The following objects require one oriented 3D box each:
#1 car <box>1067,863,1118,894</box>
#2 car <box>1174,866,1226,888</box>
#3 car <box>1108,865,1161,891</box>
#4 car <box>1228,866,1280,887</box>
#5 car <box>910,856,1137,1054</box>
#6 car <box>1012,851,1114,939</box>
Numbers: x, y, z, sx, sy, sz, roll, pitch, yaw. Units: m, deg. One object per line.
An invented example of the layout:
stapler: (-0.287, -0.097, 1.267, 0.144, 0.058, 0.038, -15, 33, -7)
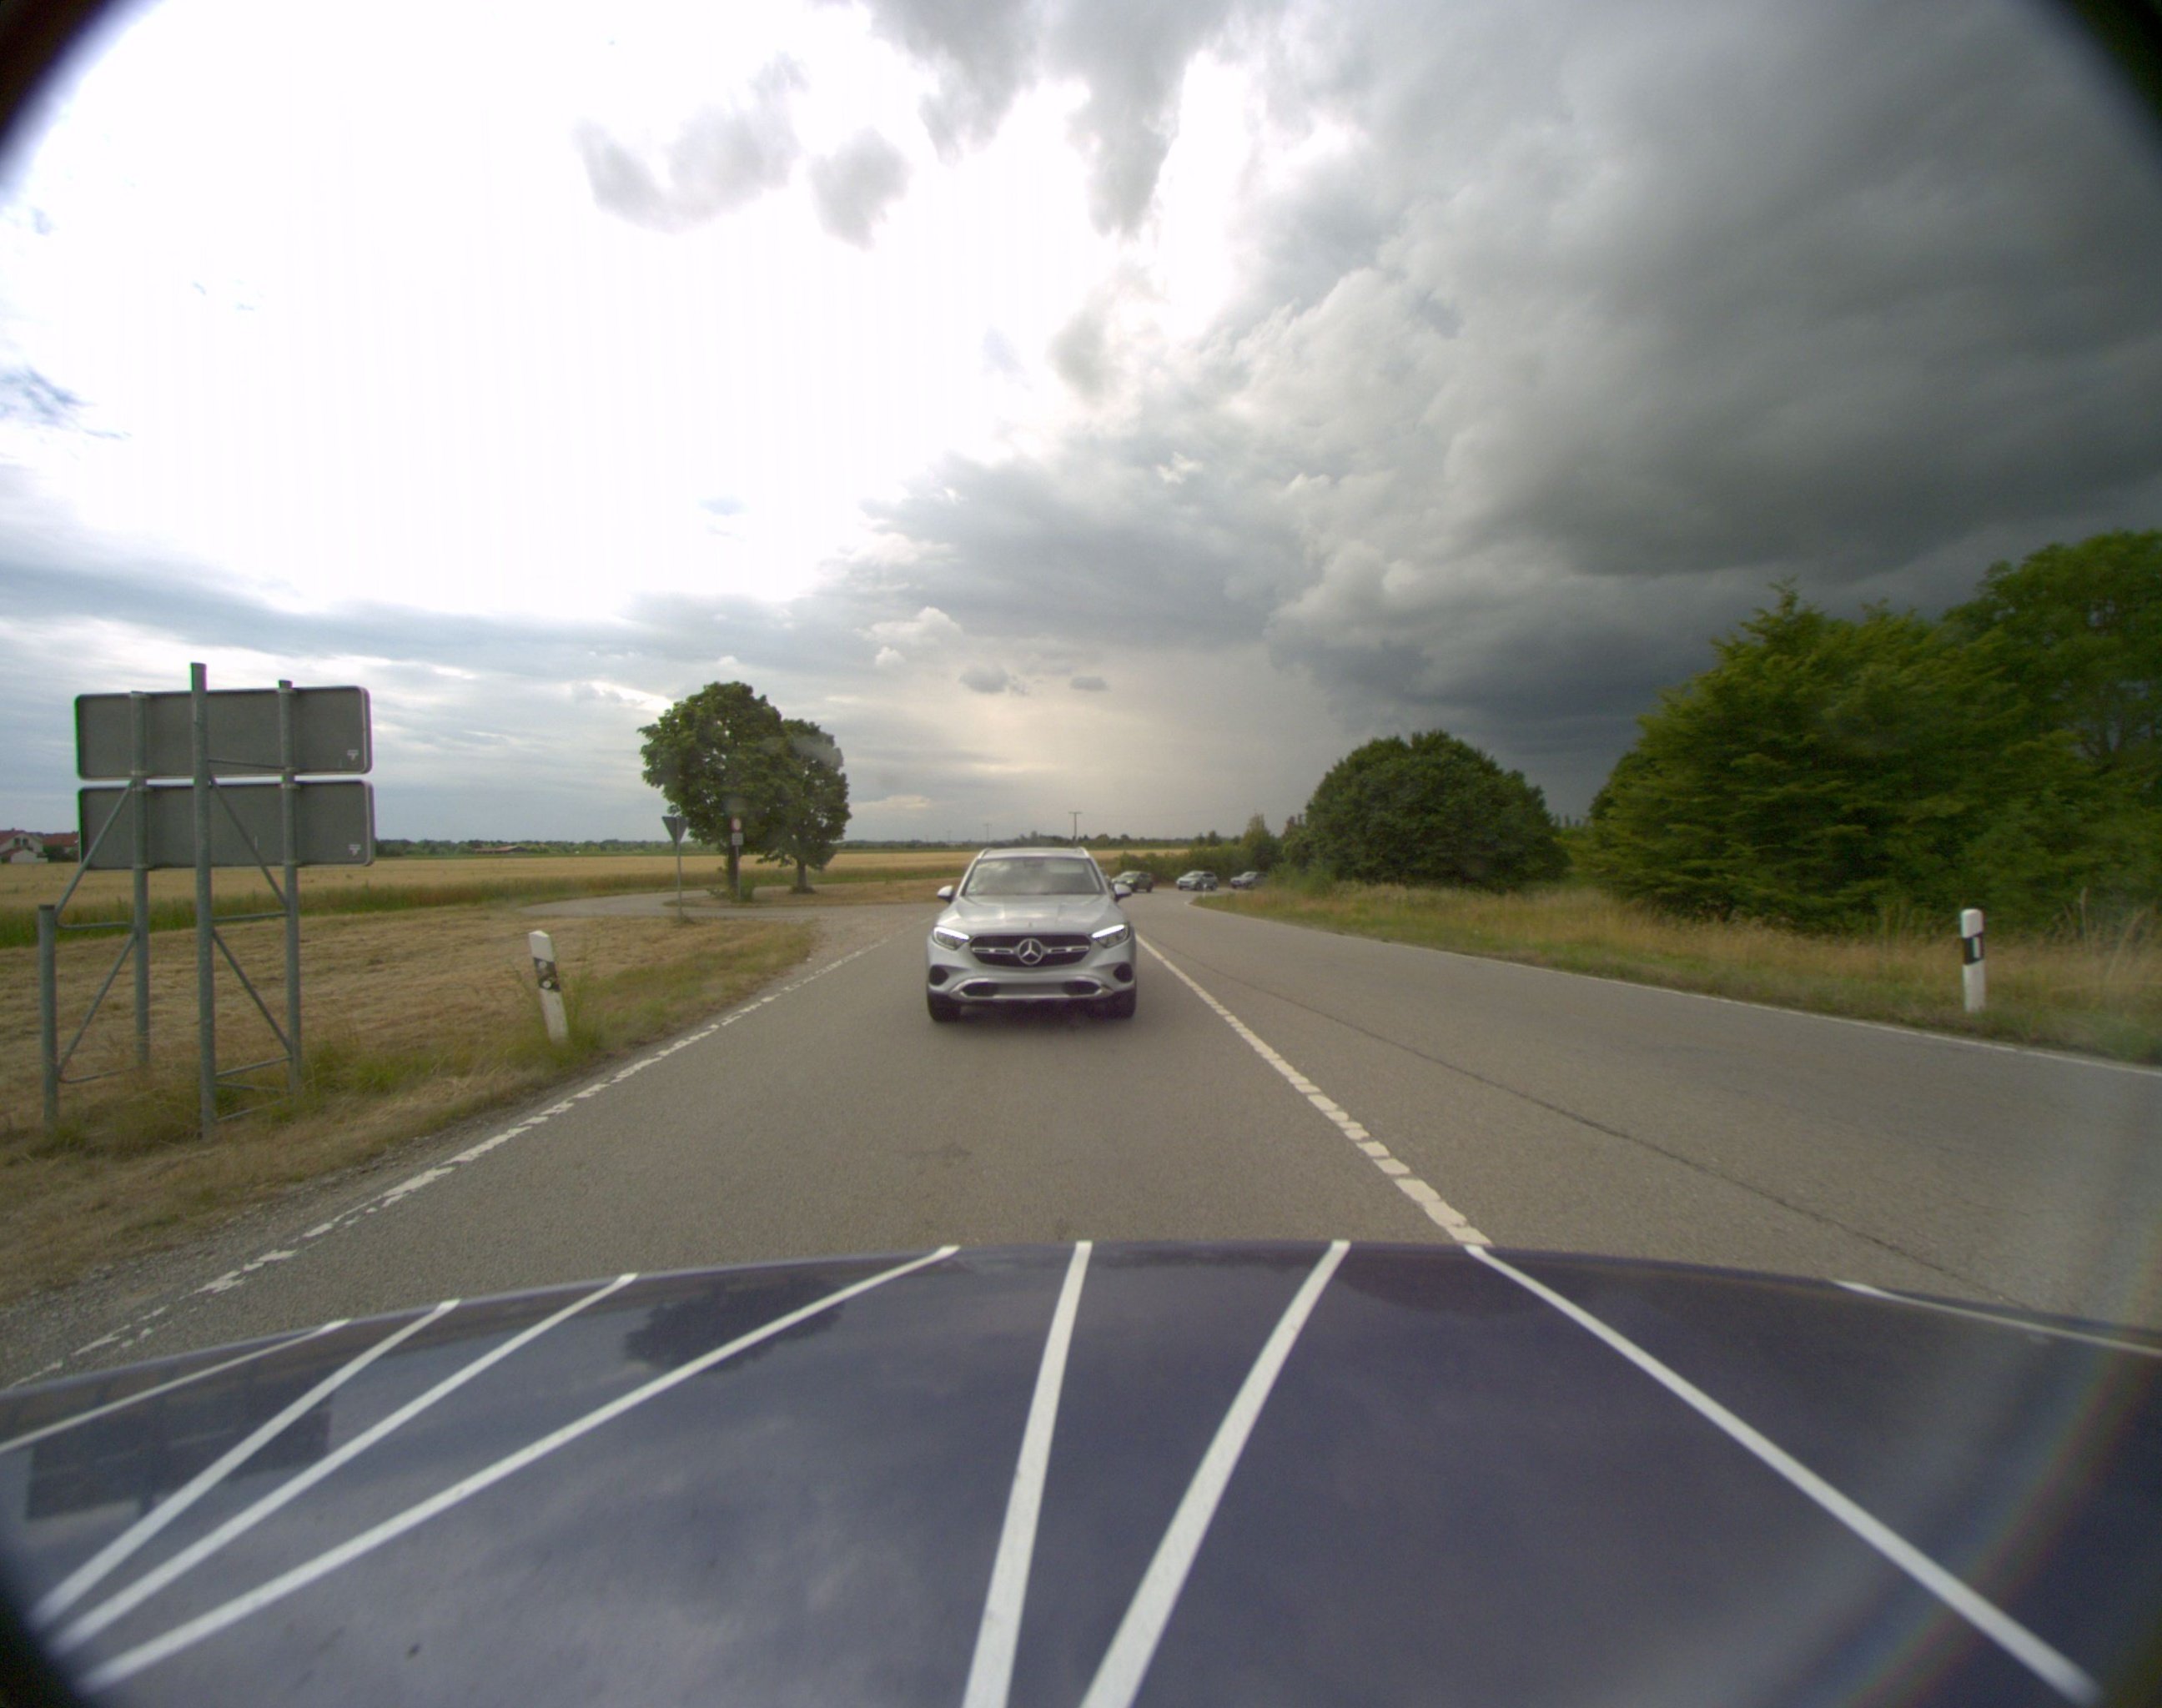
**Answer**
car: (0.802, 1.473, 47.417, 1.996, 1.709, 5.215, 3, 0, 14)
car: (10.296, 1.989, 65.353, 1.994, 1.709, 5.221, 3, 0, 39)
car: (3.995, 1.741, 55.683, 1.994, 1.709, 5.219, 3, 0, 26)
car: (16.423, 2.105, 72.121, 5.219, 1.710, 1.994, 0, 2, -39)
car: (-0.520, 0.825, 8.373, 1.837, 1.577, 4.449, 0, 0, -2)
car: (-0.307, 0.838, 17.548, 1.998, 1.709, 5.209, 0, -1, 1)
